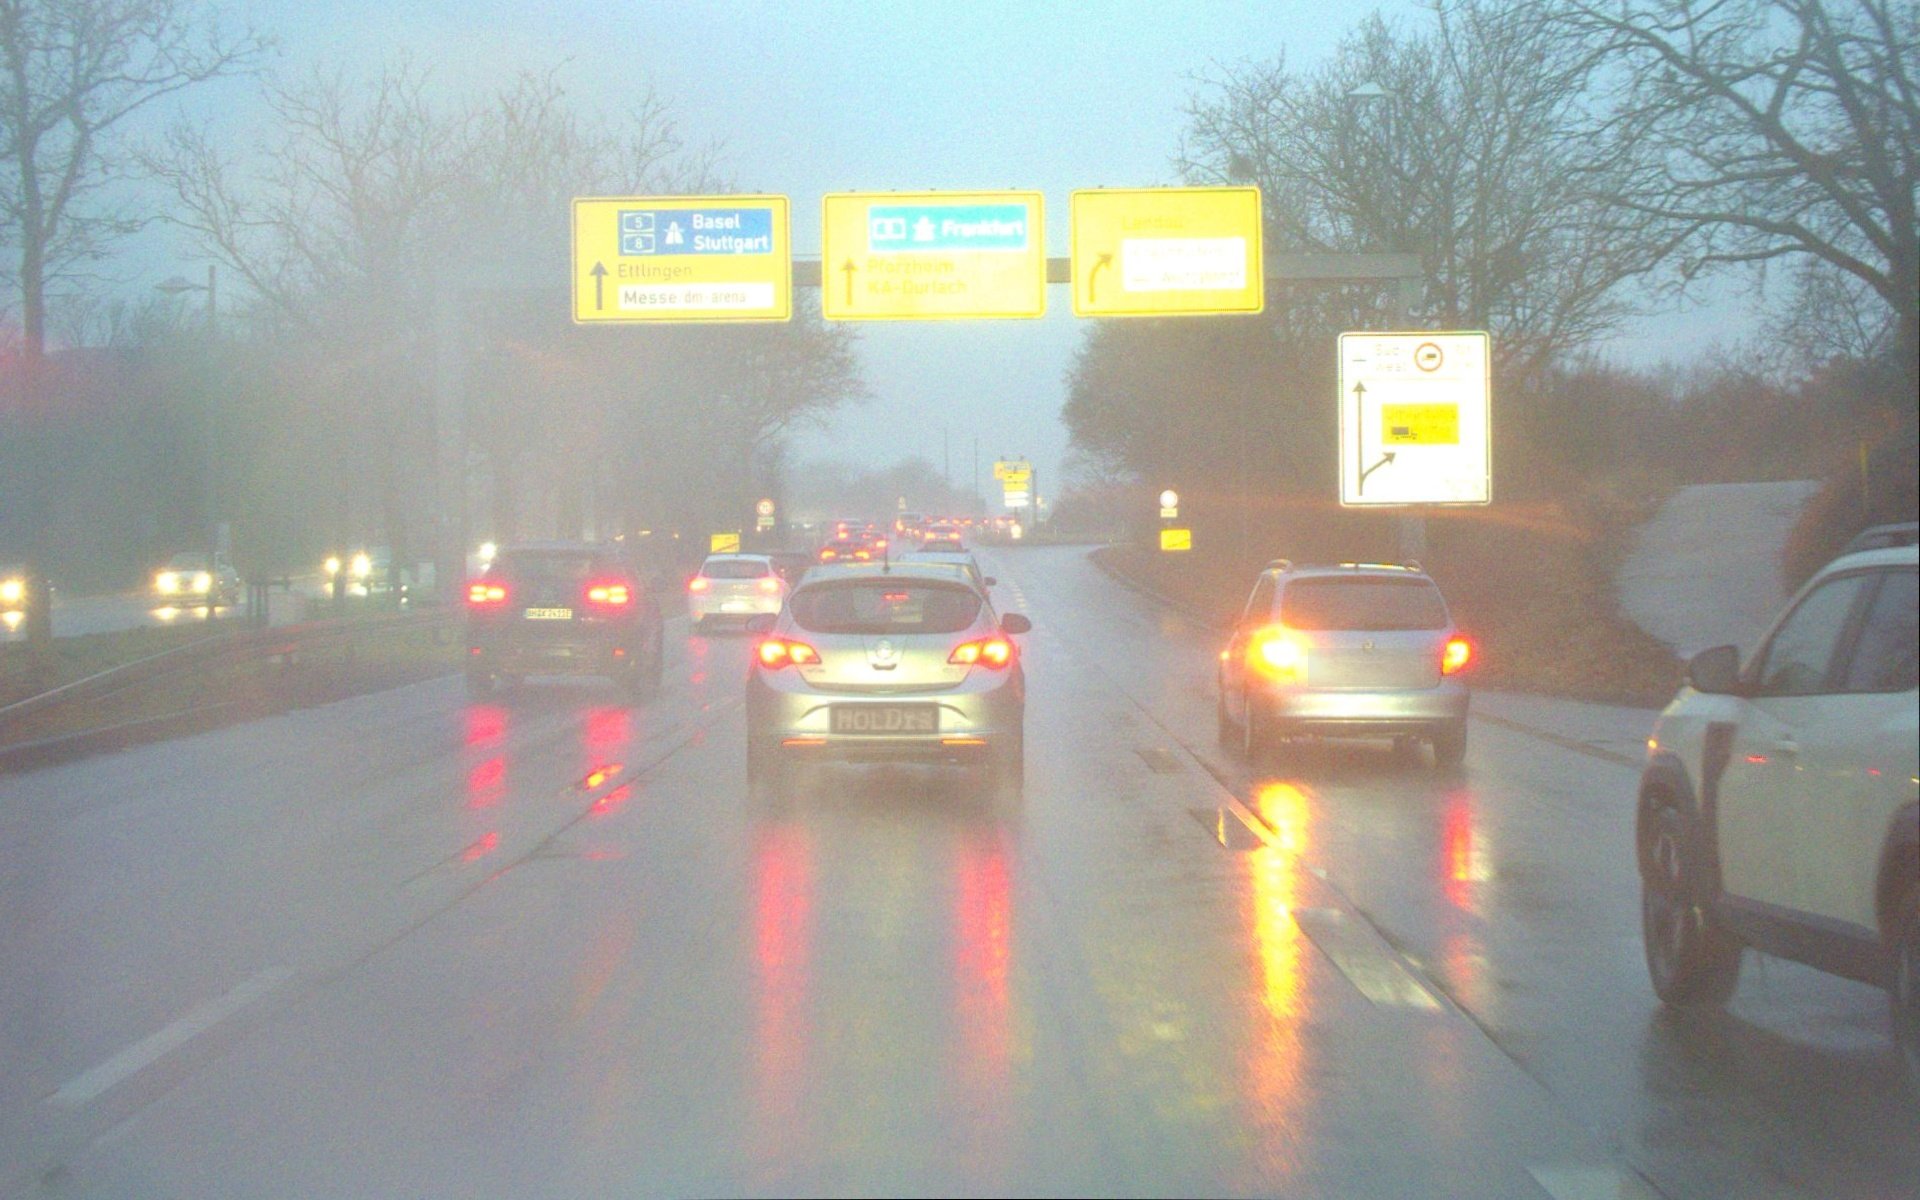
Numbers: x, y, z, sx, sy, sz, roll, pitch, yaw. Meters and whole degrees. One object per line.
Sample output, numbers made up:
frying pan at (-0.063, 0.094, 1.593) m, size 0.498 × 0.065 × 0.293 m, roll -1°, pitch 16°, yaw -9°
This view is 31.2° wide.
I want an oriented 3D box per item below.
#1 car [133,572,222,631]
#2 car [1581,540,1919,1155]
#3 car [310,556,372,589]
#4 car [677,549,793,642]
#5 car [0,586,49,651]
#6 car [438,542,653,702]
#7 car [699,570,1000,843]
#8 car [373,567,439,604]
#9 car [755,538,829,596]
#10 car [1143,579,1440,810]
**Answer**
car at (-22.136, 0.018, 97.348) m, size 1.785 × 1.621 × 3.575 m, roll 0°, pitch 1°, yaw -1°
car at (3.335, 0.626, 10.609) m, size 1.815 × 1.612 × 4.411 m, roll -1°, pitch 0°, yaw -3°
car at (-25.014, -1.116, 139.020) m, size 1.751 × 1.303 × 4.316 m, roll 0°, pitch 1°, yaw 0°
car at (-4.100, -0.103, 63.200) m, size 1.822 × 1.642 × 4.000 m, roll -1°, pitch 0°, yaw 0°
car at (-28.817, 0.520, 102.599) m, size 1.993 × 1.845 × 4.426 m, roll 0°, pitch 1°, yaw 1°
car at (-4.474, 0.211, 37.647) m, size 1.822 × 1.642 × 4.000 m, roll -1°, pitch 0°, yaw 0°
car at (-0.661, 0.652, 23.311) m, size 1.822 × 1.642 × 4.466 m, roll 1°, pitch 0°, yaw 0°
car at (-20.273, -0.528, 125.929) m, size 1.751 × 1.303 × 4.316 m, roll 0°, pitch 1°, yaw 0°
car at (-3.964, -0.786, 81.659) m, size 1.505 × 1.334 × 4.000 m, roll -1°, pitch 0°, yaw 0°
car at (2.523, 0.684, 27.169) m, size 1.933 × 1.642 × 4.466 m, roll 1°, pitch 0°, yaw 0°
